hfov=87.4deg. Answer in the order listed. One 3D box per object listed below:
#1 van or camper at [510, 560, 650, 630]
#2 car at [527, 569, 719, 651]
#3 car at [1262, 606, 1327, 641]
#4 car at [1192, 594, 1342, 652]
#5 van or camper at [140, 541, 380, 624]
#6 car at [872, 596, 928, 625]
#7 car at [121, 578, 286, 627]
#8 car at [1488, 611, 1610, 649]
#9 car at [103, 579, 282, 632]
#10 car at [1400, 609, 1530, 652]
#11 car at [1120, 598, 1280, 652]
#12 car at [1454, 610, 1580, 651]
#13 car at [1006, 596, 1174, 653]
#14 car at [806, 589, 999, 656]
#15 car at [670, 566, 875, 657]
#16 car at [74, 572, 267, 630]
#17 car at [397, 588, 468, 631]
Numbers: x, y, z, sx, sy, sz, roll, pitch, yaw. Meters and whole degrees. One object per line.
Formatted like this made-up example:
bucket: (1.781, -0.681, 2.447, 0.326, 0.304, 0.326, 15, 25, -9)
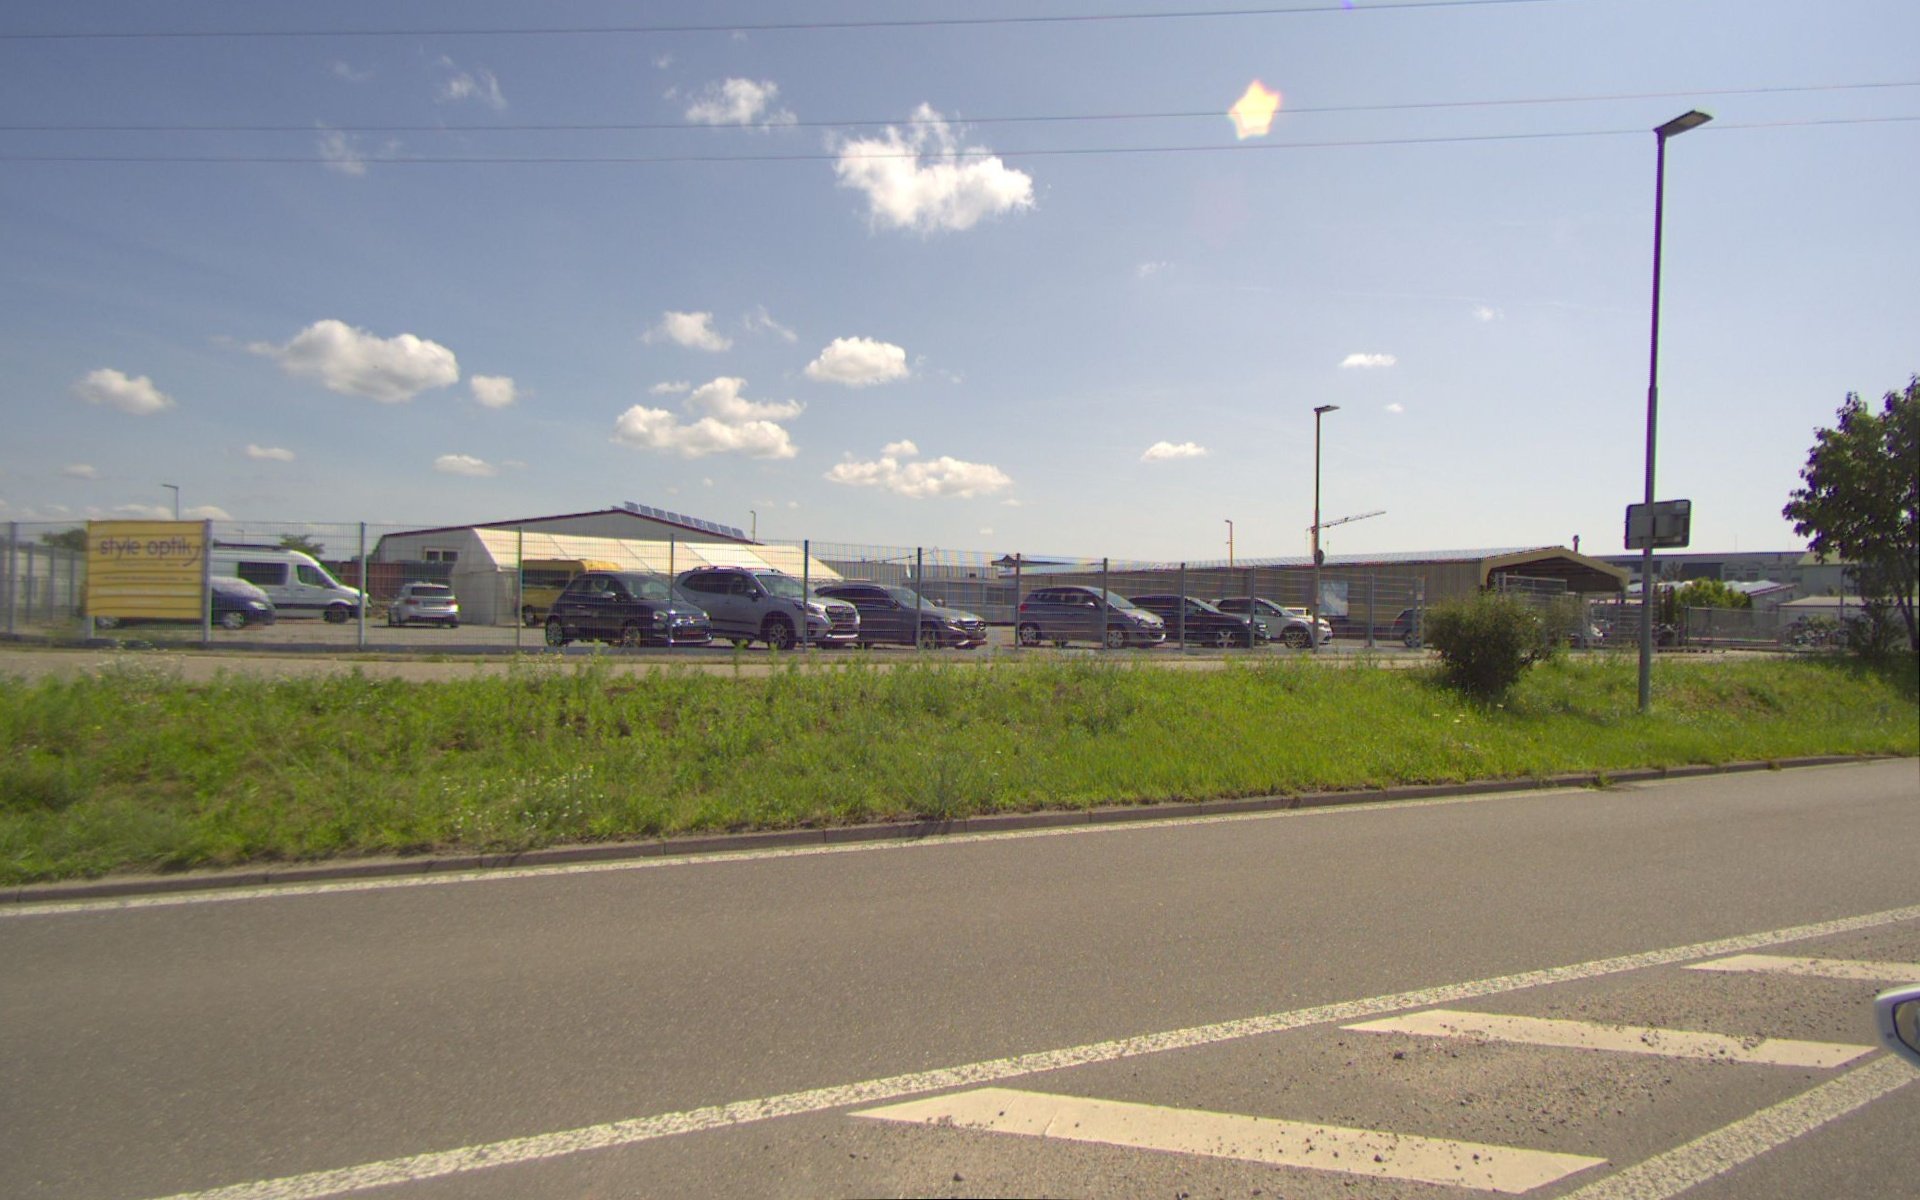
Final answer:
van or camper: (-13.866, -0.203, 36.529, 5.246, 2.407, 1.890, 1, 0, 31)
car: (-6.476, 0.164, 19.212, 3.512, 1.420, 1.794, 1, 0, 36)
car: (15.933, 1.083, 47.672, 1.965, 1.506, 4.237, 1, 0, 32)
car: (9.198, 0.660, 30.138, 3.929, 1.561, 1.939, 1, 0, 31)
van or camper: (-24.177, -0.531, 35.146, 6.691, 2.634, 1.984, 1, 0, -31)
car: (-3.828, 0.626, 63.513, 1.976, 1.717, 3.969, 1, 0, -29)
car: (-23.887, 0.091, 31.928, 3.954, 1.452, 1.910, 1, 0, -31)
car: (22.699, 1.134, 38.814, 3.929, 1.327, 1.939, 1, 0, 31)
car: (-22.488, 0.177, 29.636, 3.954, 1.452, 1.910, 1, 0, -31)
car: (17.681, 1.019, 35.220, 3.929, 1.327, 1.939, 1, 0, 31)
car: (6.656, 0.660, 27.944, 3.931, 1.327, 1.938, 1, 0, 33)
car: (20.306, 1.080, 36.698, 3.929, 1.327, 1.939, 1, 0, 31)
car: (3.392, 0.606, 26.383, 3.929, 1.327, 1.939, 1, 0, 31)
car: (-1.314, 0.474, 22.561, 3.929, 1.327, 1.939, 1, 0, 31)
car: (-3.918, 0.190, 20.773, 4.036, 1.727, 1.719, 1, 0, 31)
car: (-21.191, 0.062, 27.175, 3.962, 1.452, 1.906, 1, 0, -36)
car: (-17.712, 0.290, 33.746, 1.975, 1.327, 3.970, 1, 0, -28)
